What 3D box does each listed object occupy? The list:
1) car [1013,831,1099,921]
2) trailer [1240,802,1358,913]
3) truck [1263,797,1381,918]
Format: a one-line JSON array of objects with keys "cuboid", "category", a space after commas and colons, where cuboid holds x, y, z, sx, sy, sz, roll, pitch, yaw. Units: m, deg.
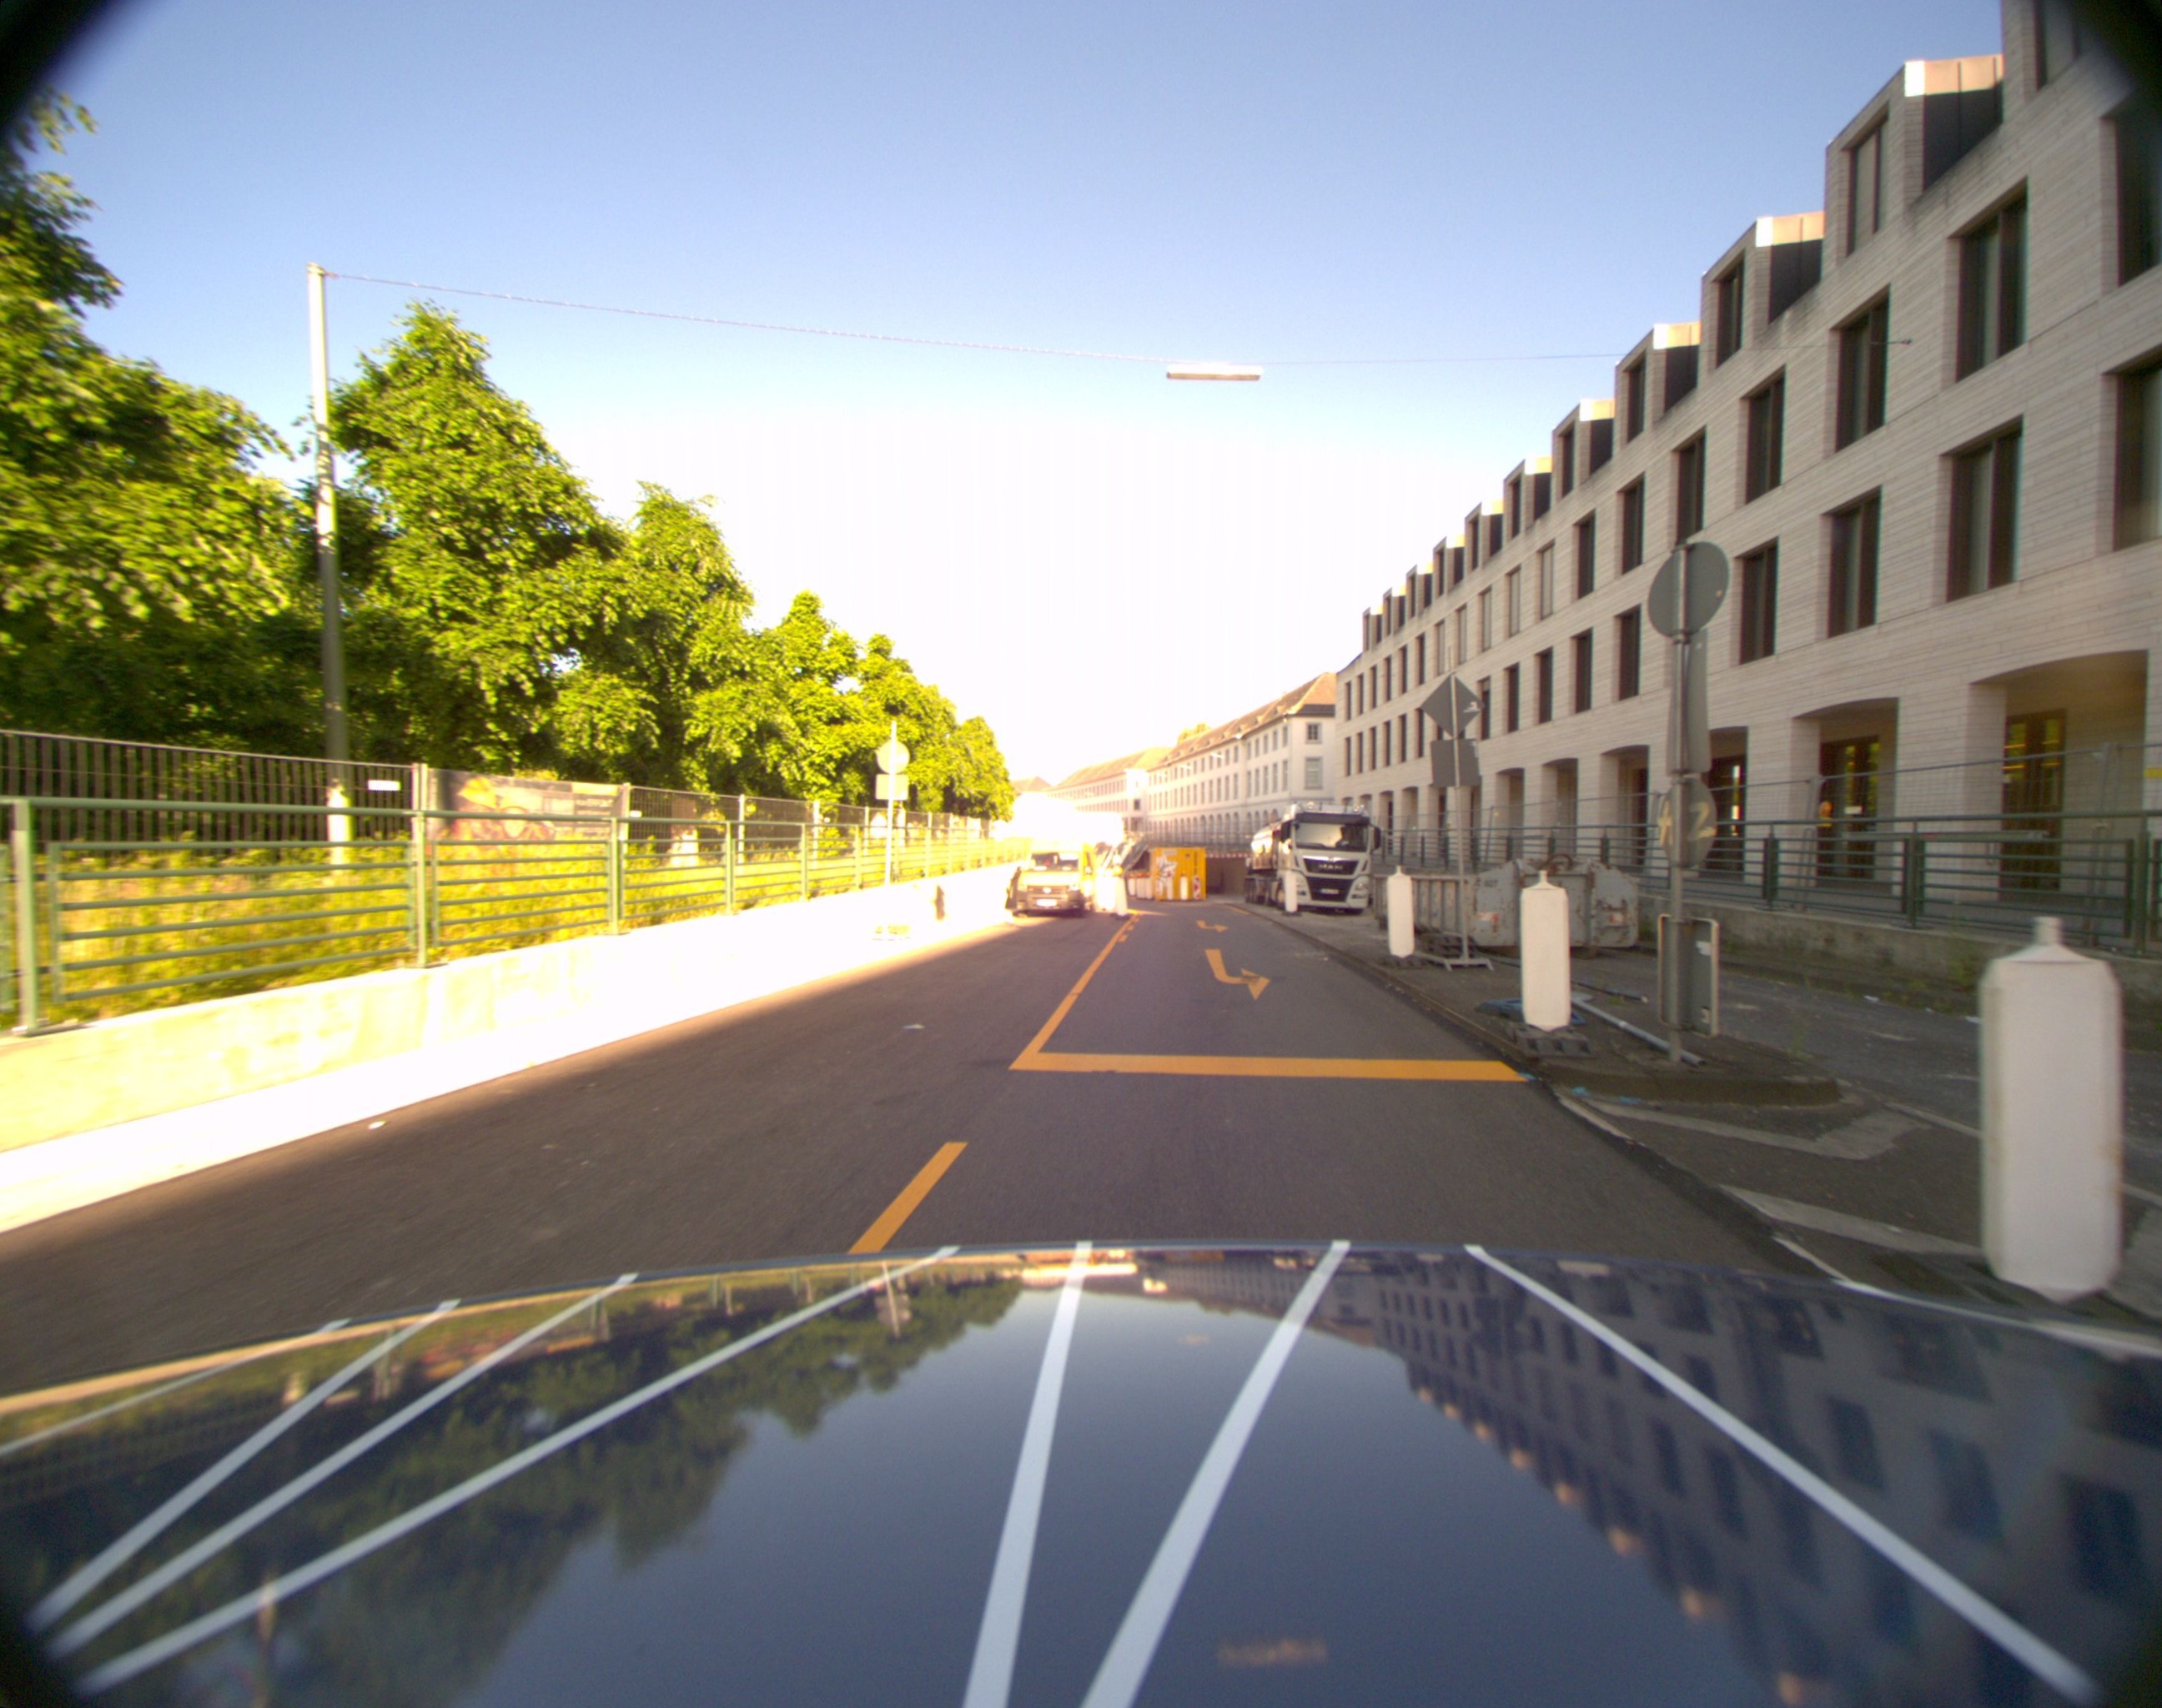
[{"cuboid": [-0.648, 0.703, 25.664, 2.116, 2.609, 6.990, 0, -1, 4], "category": "car"}, {"cuboid": [8.375, 0.182, 30.370, 2.647, 3.647, 8.753, 4, -1, 5], "category": "trailer"}, {"cuboid": [7.888, 0.145, 25.599, 2.584, 3.468, 5.820, 3, -1, 7], "category": "truck"}]
